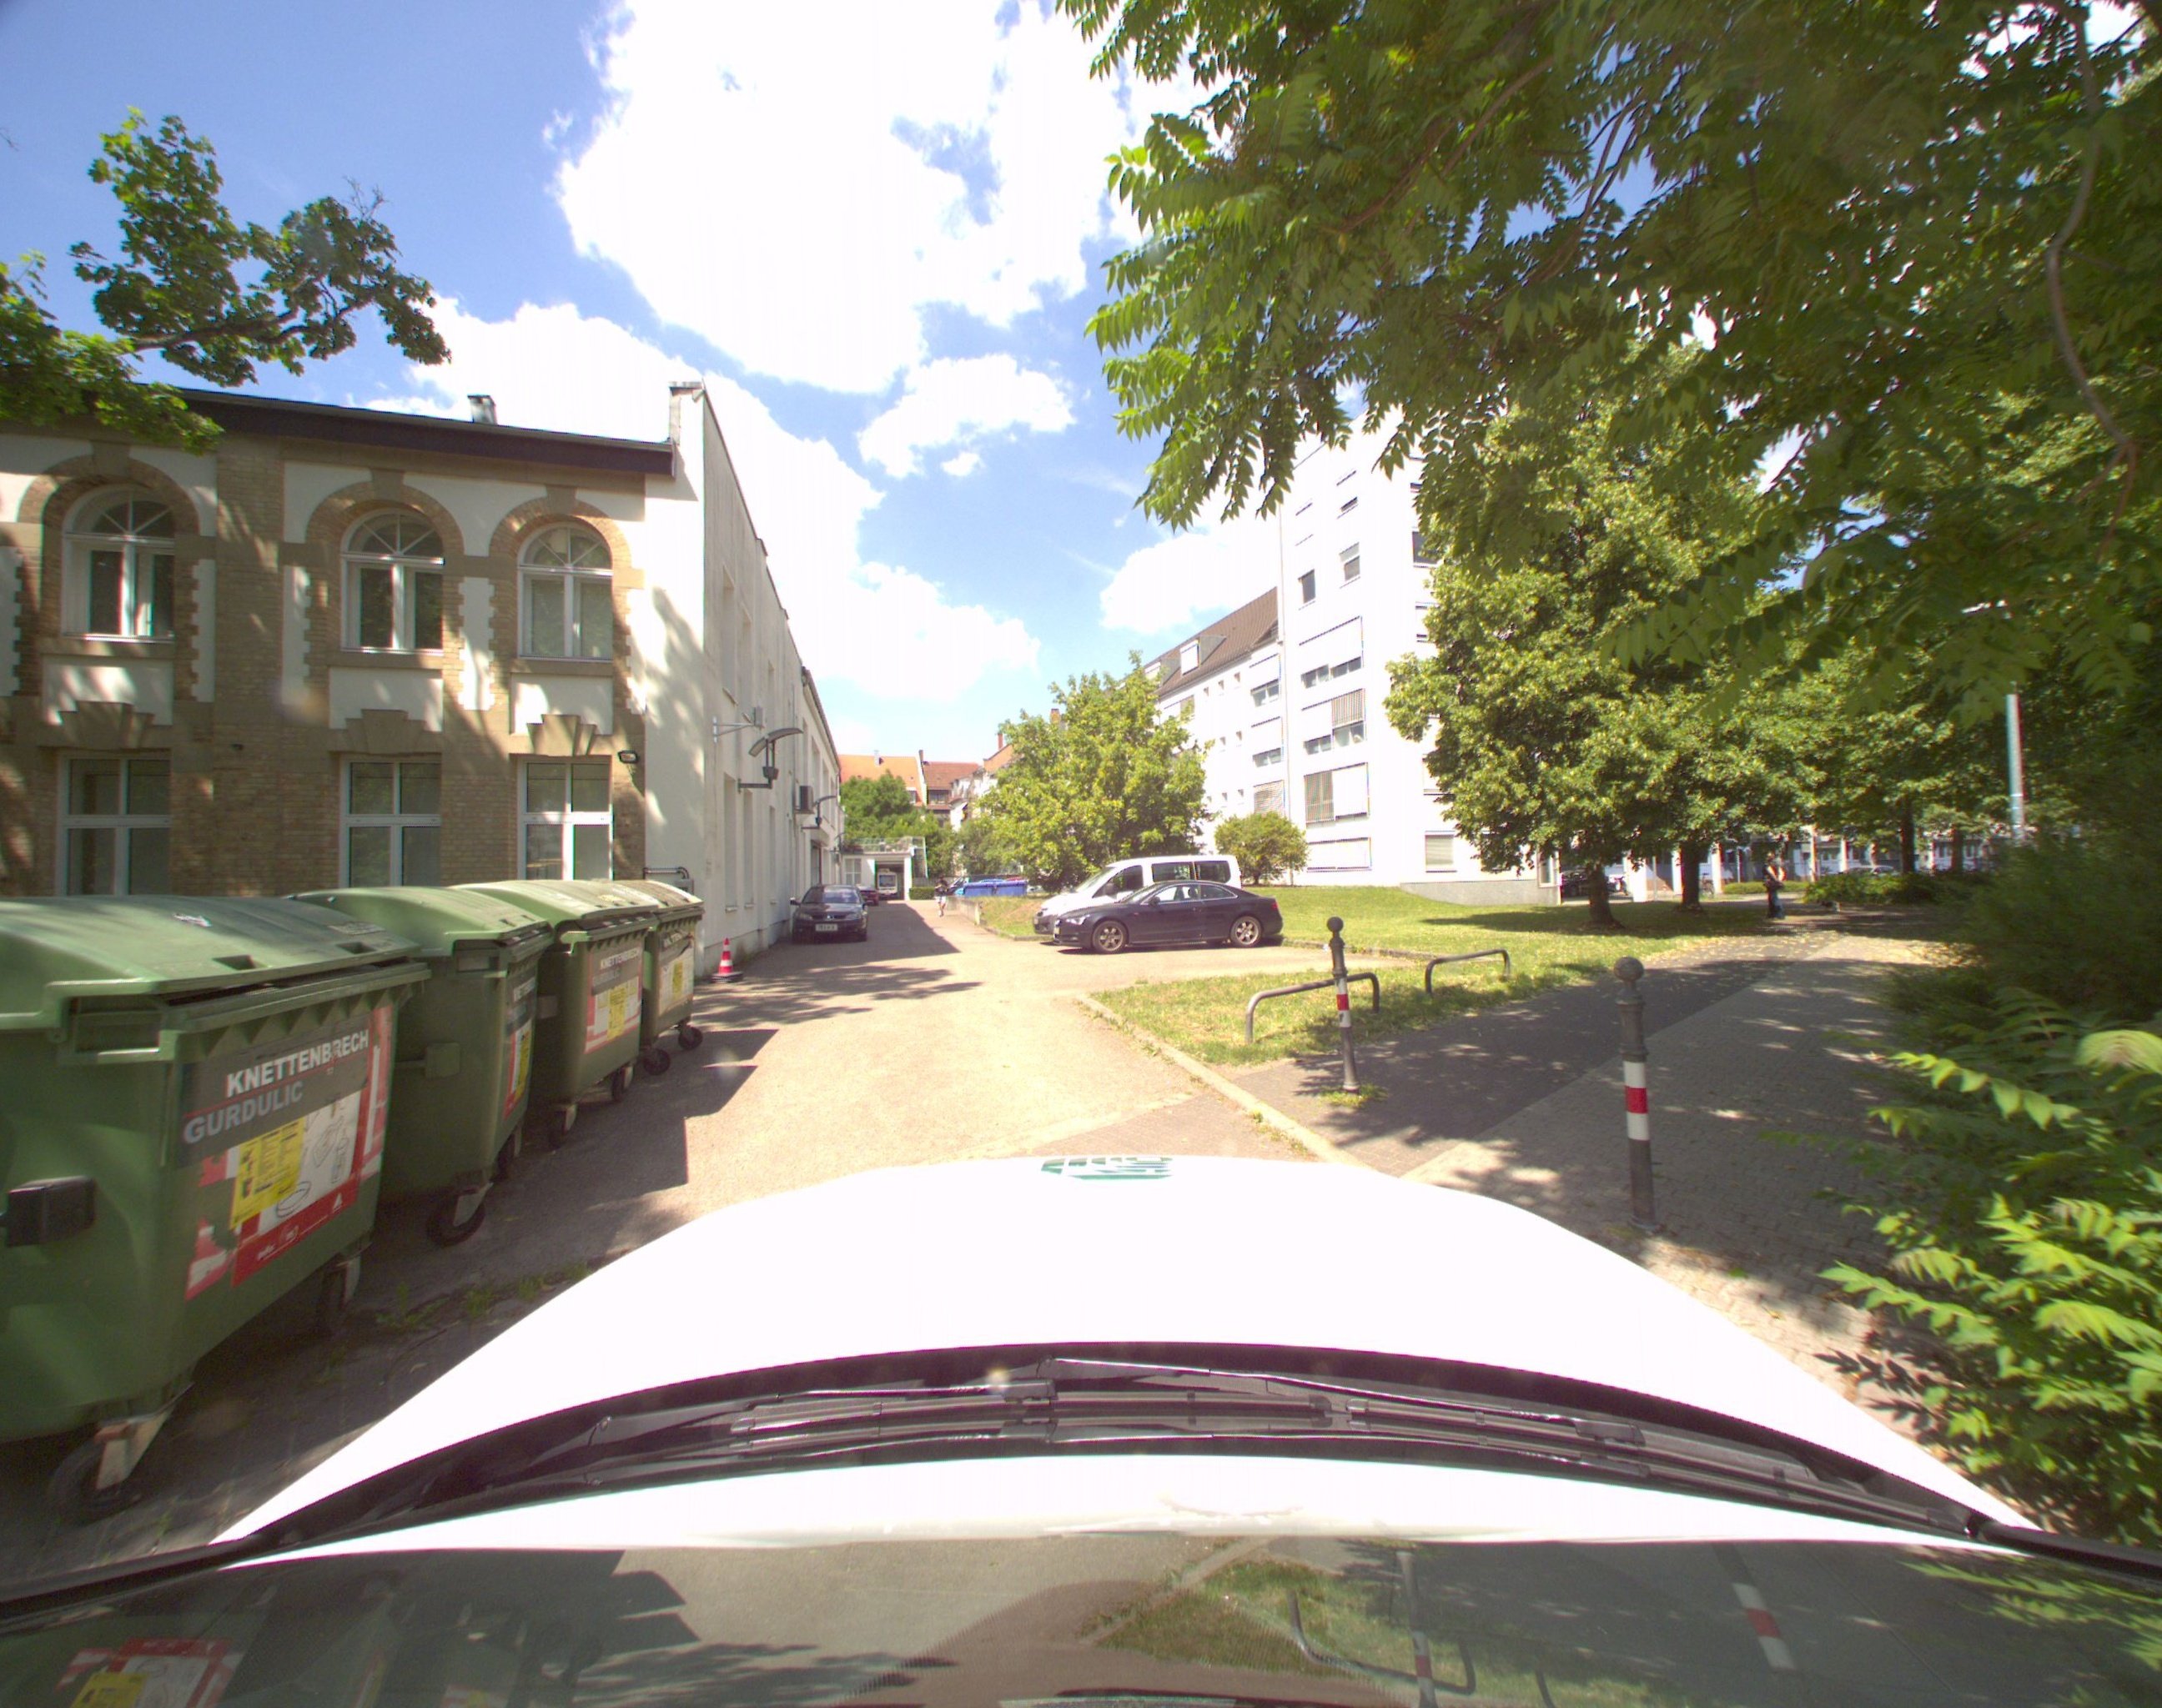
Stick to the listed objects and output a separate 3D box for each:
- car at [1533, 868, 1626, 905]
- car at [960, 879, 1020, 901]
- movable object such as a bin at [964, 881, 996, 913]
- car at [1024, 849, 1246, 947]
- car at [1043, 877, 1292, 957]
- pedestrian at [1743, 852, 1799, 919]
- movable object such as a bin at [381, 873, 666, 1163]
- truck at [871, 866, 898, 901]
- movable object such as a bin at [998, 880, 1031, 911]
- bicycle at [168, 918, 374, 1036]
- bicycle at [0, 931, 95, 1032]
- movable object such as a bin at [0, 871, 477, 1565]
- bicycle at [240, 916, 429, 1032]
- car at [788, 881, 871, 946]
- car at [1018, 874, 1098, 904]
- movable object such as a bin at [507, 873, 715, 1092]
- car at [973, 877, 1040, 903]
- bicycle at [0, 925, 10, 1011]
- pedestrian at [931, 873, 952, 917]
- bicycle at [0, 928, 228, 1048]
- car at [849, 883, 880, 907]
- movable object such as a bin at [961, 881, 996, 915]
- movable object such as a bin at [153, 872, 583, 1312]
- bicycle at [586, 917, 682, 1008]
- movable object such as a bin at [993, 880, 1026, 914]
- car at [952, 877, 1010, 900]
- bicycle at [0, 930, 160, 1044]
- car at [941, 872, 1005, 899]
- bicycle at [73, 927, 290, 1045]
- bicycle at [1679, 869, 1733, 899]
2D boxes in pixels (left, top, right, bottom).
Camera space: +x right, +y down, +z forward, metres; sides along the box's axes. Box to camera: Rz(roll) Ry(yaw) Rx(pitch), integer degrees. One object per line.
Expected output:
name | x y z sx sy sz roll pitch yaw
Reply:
car | 23.535 1.516 38.489 3.622 1.621 1.665 -1 -1 -14
car | -6.506 2.550 57.950 3.996 1.390 1.794 -1 -1 -16
movable object such as a bin | -4.385 1.855 35.401 1.195 1.327 1.154 -1 -2 -16
car | 1.205 0.976 18.957 4.767 2.014 1.990 -1 -2 -15
car | 1.694 1.190 16.345 4.619 1.352 1.824 -1 -1 -15
pedestrian | 16.543 0.750 19.544 0.751 1.564 0.735 -1 -2 -25
movable object such as a bin | -3.299 0.876 5.005 1.046 1.479 1.256 -1 -2 -14
truck | -17.052 2.577 70.639 1.794 2.937 4.622 -1 -2 -19
movable object such as a bin | -2.916 1.808 35.730 1.219 1.327 1.154 -1 -2 -16
bicycle | -9.460 1.378 9.659 0.606 1.082 2.250 -1 -1 -12
bicycle | -12.069 1.434 8.839 0.607 1.011 2.246 -1 -1 -18
movable object such as a bin | -2.727 0.812 2.334 1.207 1.479 1.317 -1 -2 -17
bicycle | -8.831 1.360 9.782 0.606 1.082 2.250 -1 -1 -12
car | -6.472 1.465 21.334 1.757 1.430 4.366 -1 -1 -13
car | -1.238 1.873 43.978 3.996 1.478 1.794 -1 -1 -16
movable object such as a bin | -3.624 0.912 6.455 1.046 1.479 1.403 -1 -2 -14
car | -4.735 2.284 51.590 3.996 1.478 1.794 -1 -1 -16
bicycle | -12.788 1.329 8.586 0.607 1.011 2.246 -1 -1 -18
pedestrian | -5.756 1.671 33.585 0.758 1.755 0.748 -1 -2 -13
bicycle | -10.795 1.428 9.182 0.607 1.011 2.246 -1 -1 -18
car | -13.820 2.570 51.972 1.802 1.390 3.979 -1 -1 -15
movable object such as a bin | -4.245 1.821 33.652 1.340 1.327 1.155 -1 -2 -12
movable object such as a bin | -2.982 0.843 3.660 1.098 1.479 1.349 -1 -2 -25
bicycle | -5.704 1.351 10.495 0.612 0.958 1.722 -1 -1 -12
movable object such as a bin | -2.996 1.783 34.006 1.217 1.327 1.155 -1 -2 -12
car | -7.479 2.557 60.761 3.996 1.534 1.794 -1 -1 -16
bicycle | -11.433 1.427 8.983 0.607 1.011 2.246 -1 -1 -18
car | -8.463 2.430 63.637 4.688 1.958 2.065 -1 -1 -16
bicycle | -10.153 1.424 9.331 0.607 1.011 2.246 -1 -1 -18
bicycle | 23.964 1.159 31.217 1.938 1.084 0.598 -1 -2 -17
